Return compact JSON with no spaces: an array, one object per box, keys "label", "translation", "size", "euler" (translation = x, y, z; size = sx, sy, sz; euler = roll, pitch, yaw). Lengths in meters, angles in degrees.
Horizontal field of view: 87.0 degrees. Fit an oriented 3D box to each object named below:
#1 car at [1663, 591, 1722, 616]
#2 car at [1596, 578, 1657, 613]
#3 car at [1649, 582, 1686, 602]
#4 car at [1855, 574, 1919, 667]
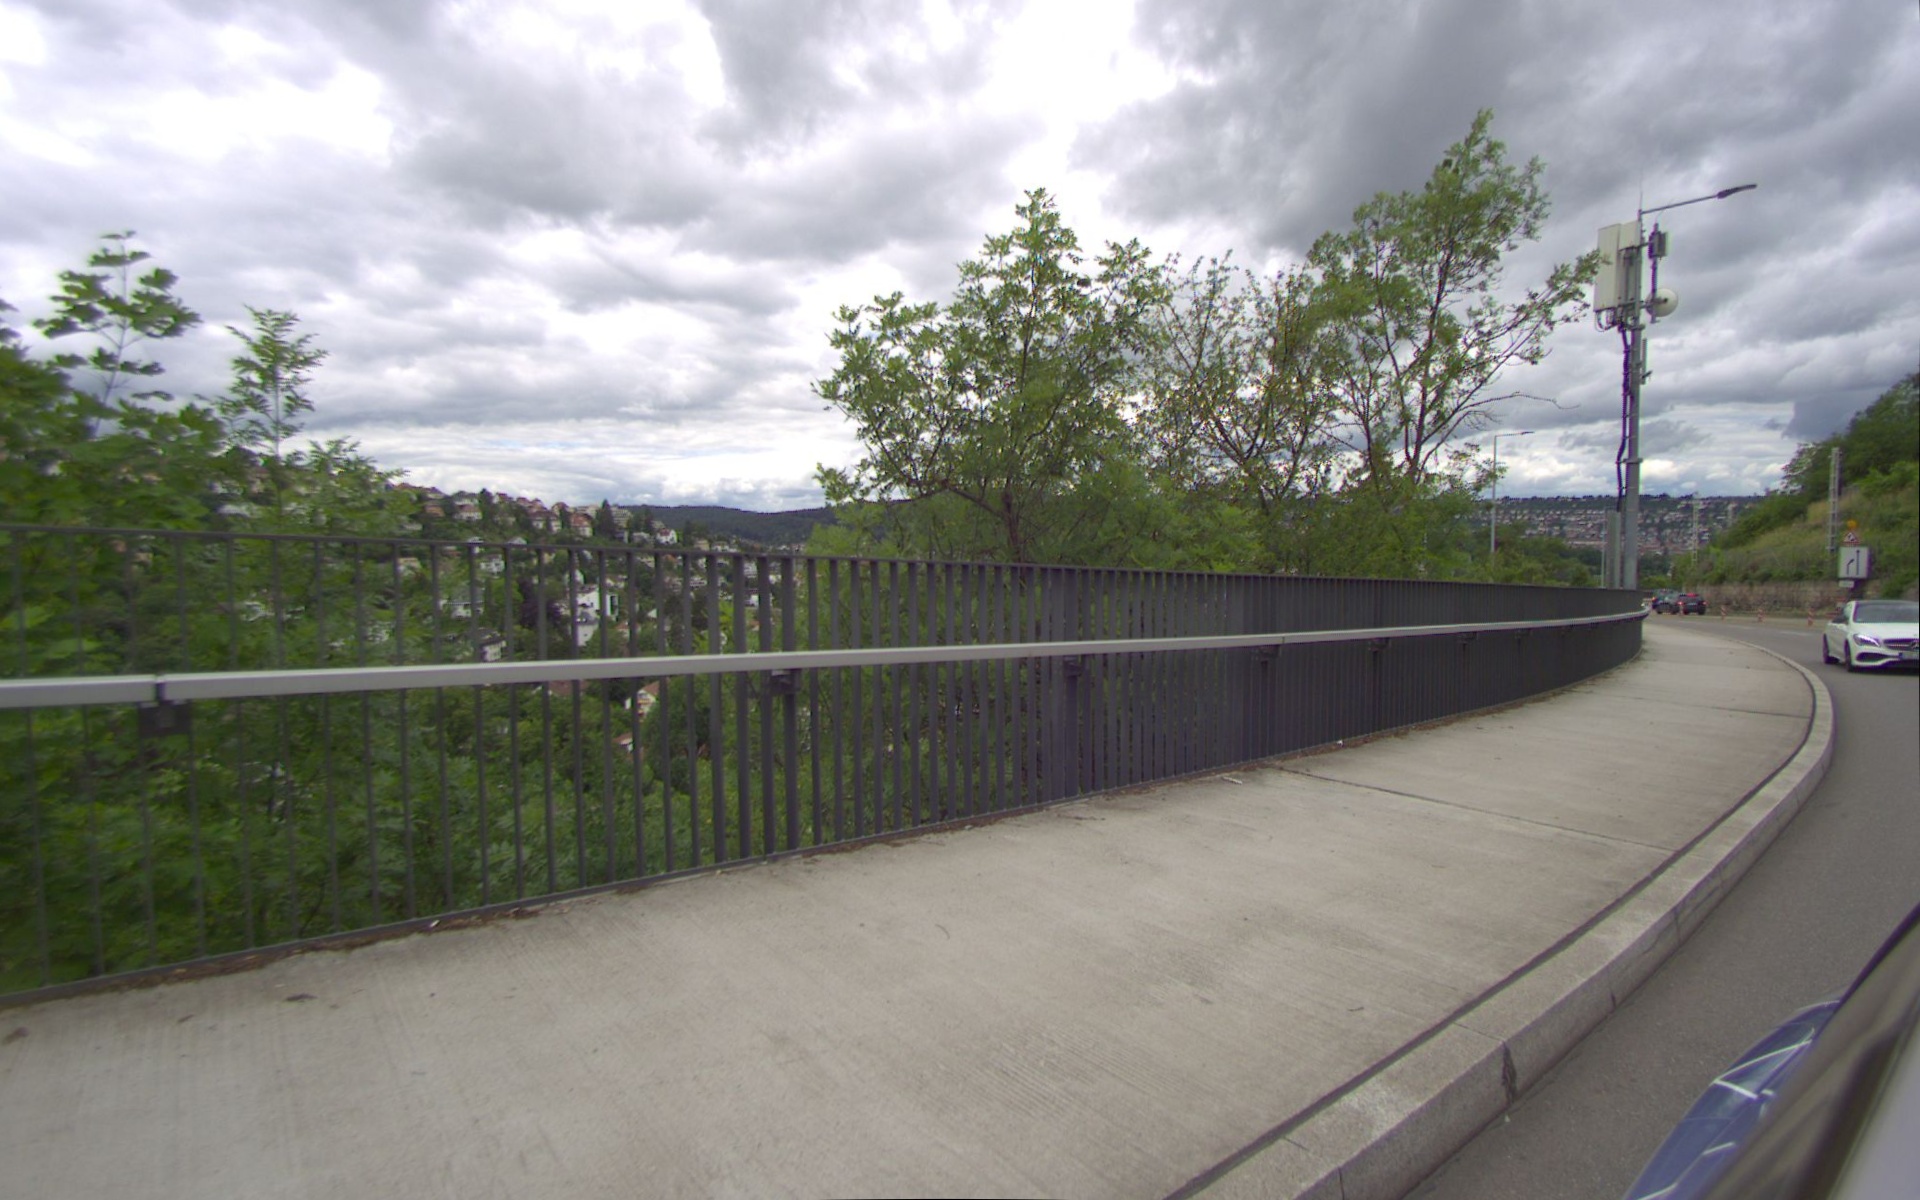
[{"label":"car","translation":[47.570,0.204,65.813],"size":[1.833,1.431,4.388],"euler":[-3,0,19]},{"label":"car","translation":[34.177,-0.245,52.031],"size":[1.980,1.692,4.498],"euler":[1,1,26]},{"label":"car","translation":[64.019,-0.737,91.544],"size":[4.654,1.805,1.852],"euler":[-1,0,-43]},{"label":"car","translation":[19.358,0.365,20.265],"size":[1.993,1.740,3.937],"euler":[-1,-1,44]}]
